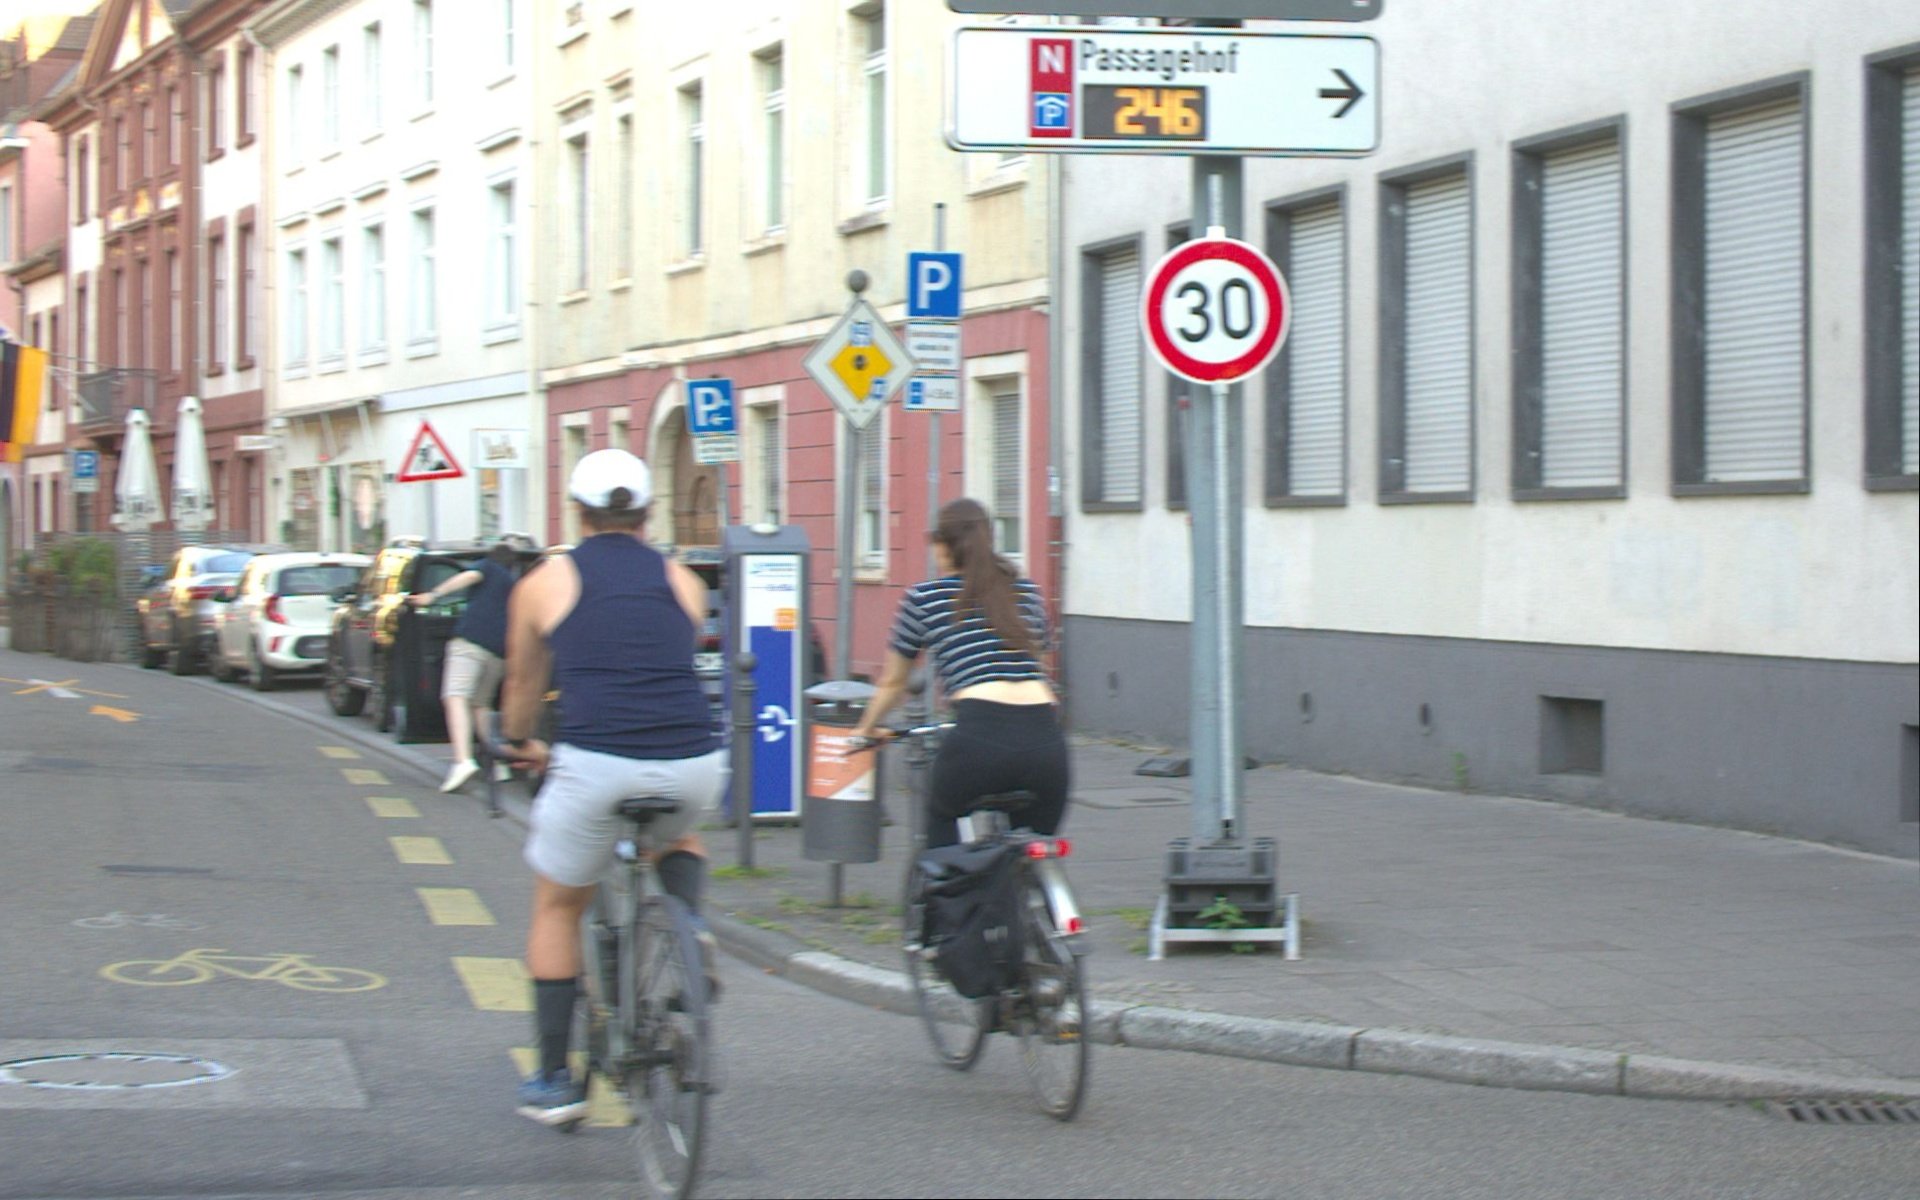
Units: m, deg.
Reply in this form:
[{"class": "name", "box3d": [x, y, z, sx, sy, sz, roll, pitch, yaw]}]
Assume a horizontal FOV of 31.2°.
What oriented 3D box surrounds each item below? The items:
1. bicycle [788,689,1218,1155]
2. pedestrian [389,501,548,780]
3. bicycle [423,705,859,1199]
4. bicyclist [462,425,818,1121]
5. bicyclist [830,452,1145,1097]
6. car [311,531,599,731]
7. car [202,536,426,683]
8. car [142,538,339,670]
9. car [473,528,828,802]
[{"class": "bicycle", "box3d": [0.058, 0.846, 9.781, 0.652, 1.067, 2.259, 2, 1, -13]}, {"class": "pedestrian", "box3d": [-3.361, 0.264, 23.469, 0.900, 1.859, 0.932, 0, 1, -19]}, {"class": "bicycle", "box3d": [-0.817, 0.834, 8.234, 0.669, 1.067, 1.902, 1, 1, -16]}, {"class": "bicyclist", "box3d": [-0.770, 0.393, 8.126, 0.668, 1.560, 0.699, 2, 0, -16]}, {"class": "bicyclist", "box3d": [0.063, 0.472, 9.828, 0.649, 1.754, 0.864, 2, 1, -13]}, {"class": "car", "box3d": [-4.611, 0.224, 30.925, 1.812, 1.678, 4.001, 0, 1, -20]}, {"class": "car", "box3d": [-7.298, 0.067, 38.553, 1.812, 1.554, 3.866, 0, 1, -21]}, {"class": "car", "box3d": [-8.973, 0.019, 42.659, 1.812, 1.554, 3.866, 0, 1, -21]}, {"class": "car", "box3d": [-2.171, 0.364, 23.143, 1.812, 1.676, 3.921, 0, 1, -14]}]
